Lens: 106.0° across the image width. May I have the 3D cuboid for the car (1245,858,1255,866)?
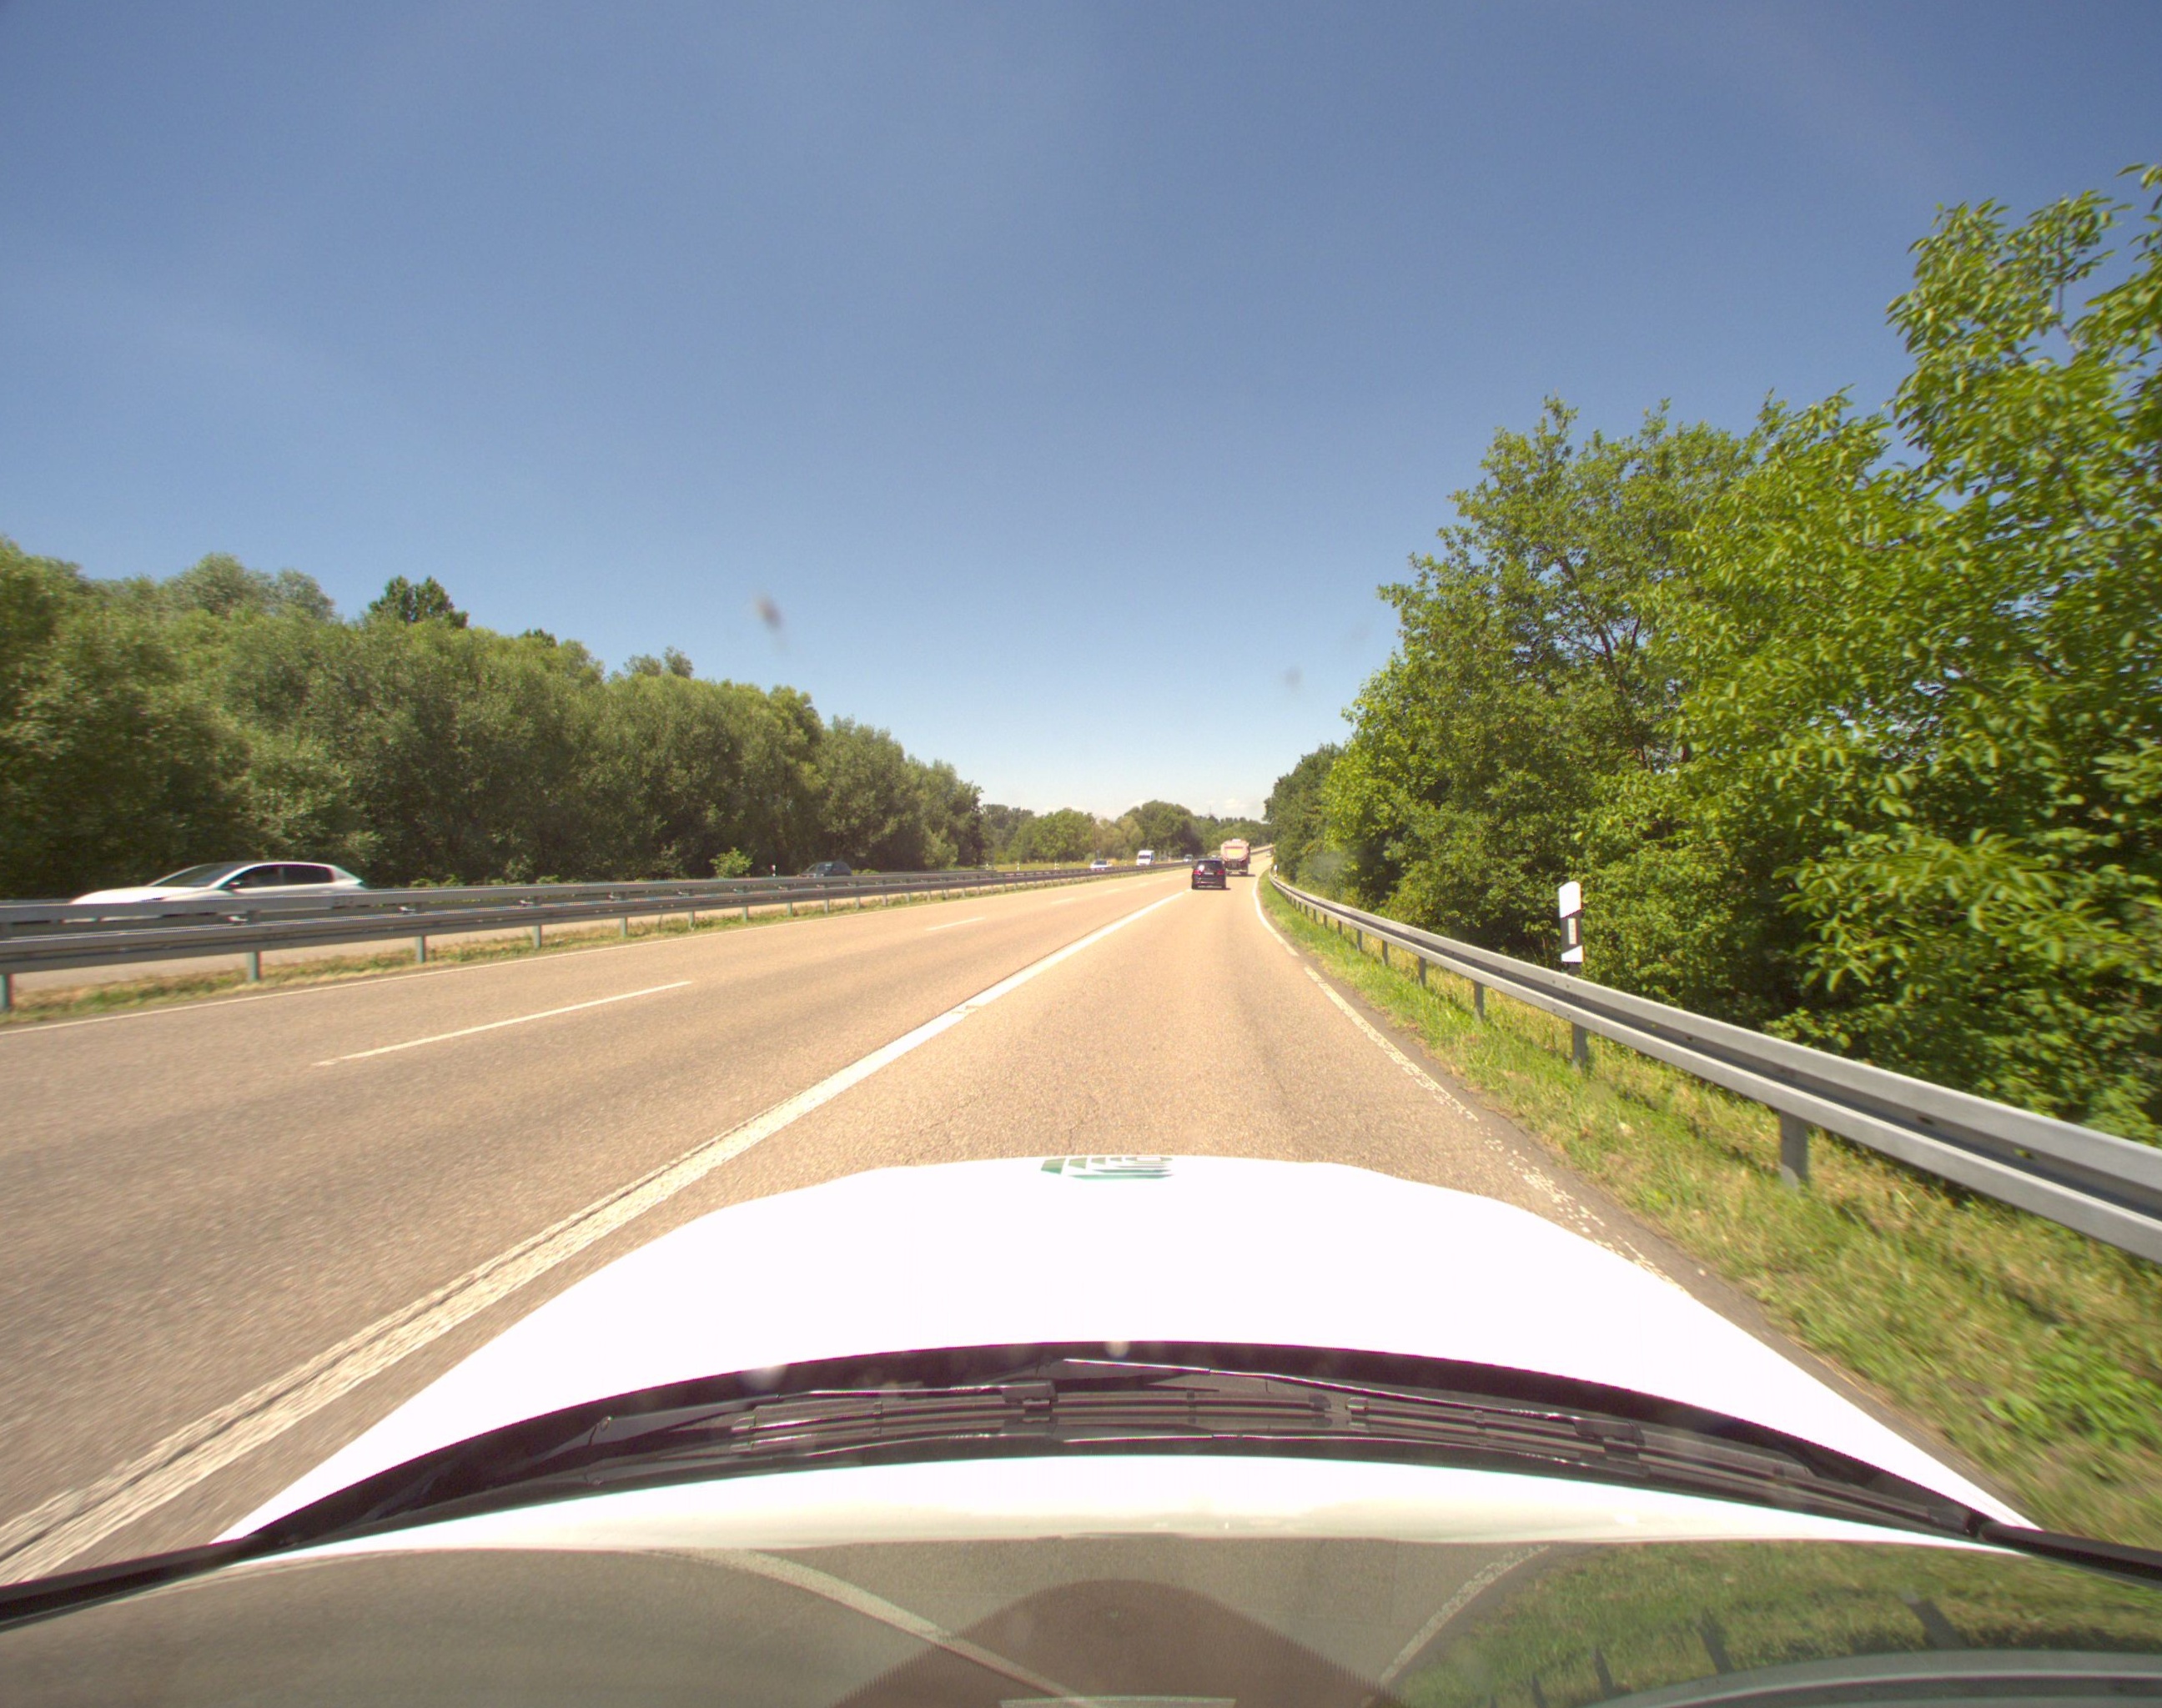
[{"bbox_3d":[34.650,1.596,167.253,1.844,1.671,4.016,0,0,15],"label":"car"}]

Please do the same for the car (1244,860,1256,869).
[{"bbox_3d":[31.949,2.045,153.974,1.844,1.671,4.016,0,0,15],"label":"car"}]

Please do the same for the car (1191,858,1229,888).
[{"bbox_3d":[7.378,1.038,46.273,1.844,1.671,4.015,0,0,13],"label":"car"}]

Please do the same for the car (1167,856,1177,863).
[{"bbox_3d":[20.279,1.223,181.840,1.906,1.489,4.010,0,0,9],"label":"car"}]

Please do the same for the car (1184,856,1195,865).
[{"bbox_3d":[21.143,1.282,158.576,1.850,1.830,4.676,0,0,13],"label":"car"}]

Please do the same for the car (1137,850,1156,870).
[{"bbox_3d":[9.231,0.808,114.524,2.090,2.683,6.645,0,0,10],"label":"car"}]

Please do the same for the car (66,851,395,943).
[{"bbox_3d":[-15.827,0.725,15.506,1.698,1.504,4.012,0,0,11],"label":"car"}]

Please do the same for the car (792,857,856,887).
[{"bbox_3d":[-14.124,0.948,44.993,1.678,1.552,4.086,0,0,10],"label":"car"}]

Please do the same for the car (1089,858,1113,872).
[{"bbox_3d":[2.111,1.150,85.463,1.906,1.489,4.010,0,0,9],"label":"car"}]

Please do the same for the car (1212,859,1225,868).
[{"bbox_3d":[24.721,1.744,146.571,1.844,1.671,4.016,0,0,15],"label":"car"}]

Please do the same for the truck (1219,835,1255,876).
[{"bbox_3d":[16.225,-0.011,83.903,2.700,3.929,12.421,0,1,15],"label":"truck"}]
